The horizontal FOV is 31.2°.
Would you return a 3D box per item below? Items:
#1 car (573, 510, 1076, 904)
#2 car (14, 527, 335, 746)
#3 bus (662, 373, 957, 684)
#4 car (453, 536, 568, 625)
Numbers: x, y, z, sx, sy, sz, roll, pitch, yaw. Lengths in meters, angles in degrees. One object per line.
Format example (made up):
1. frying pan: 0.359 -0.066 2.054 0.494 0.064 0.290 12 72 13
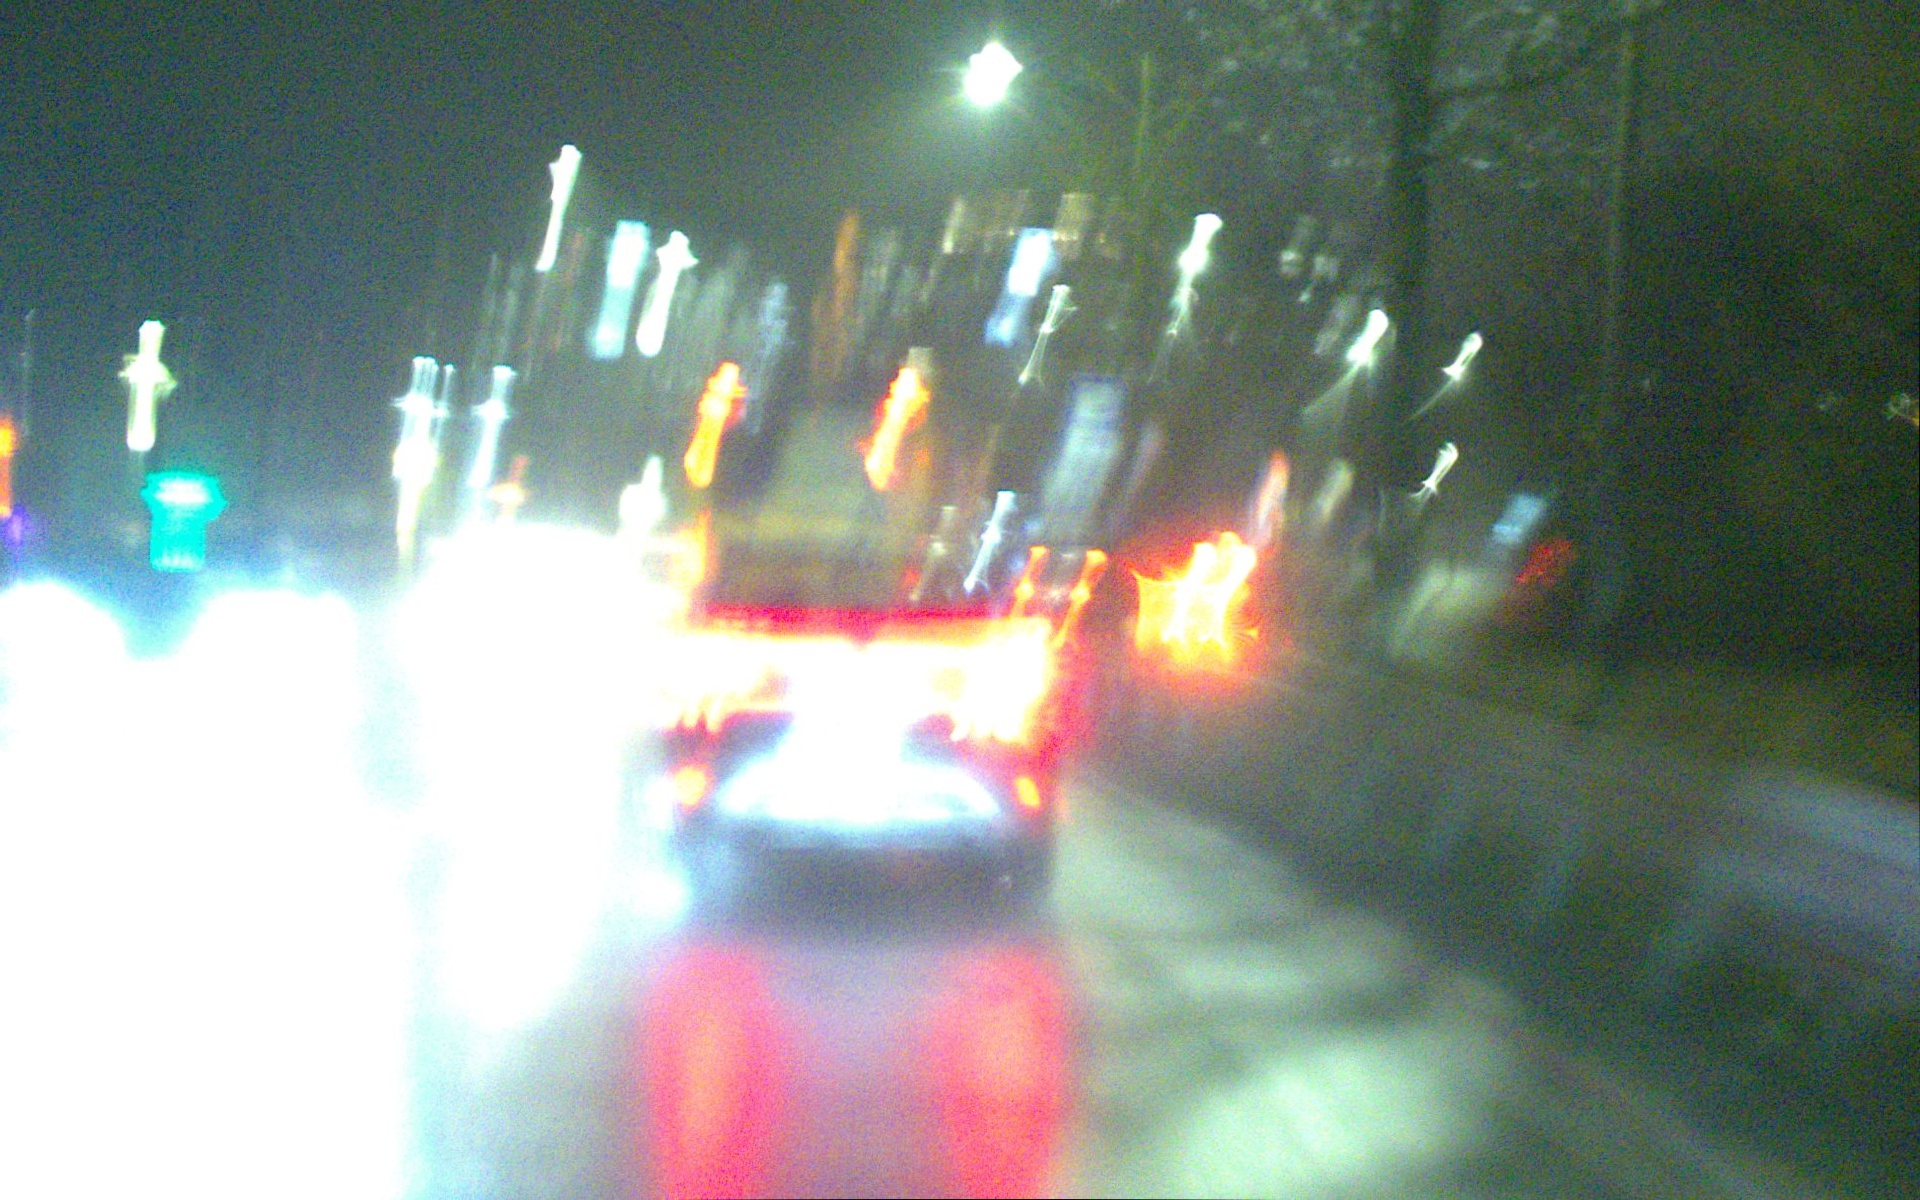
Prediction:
1. car: -0.500 0.380 15.840 1.993 1.519 4.000 1 2 1
2. car: -5.667 0.205 25.260 1.759 1.426 4.329 1 1 -6
3. bus: -1.635 -0.838 40.034 3.043 3.201 9.051 0 1 -1
4. car: -7.885 -0.369 60.582 1.823 1.398 4.037 2 2 -6
